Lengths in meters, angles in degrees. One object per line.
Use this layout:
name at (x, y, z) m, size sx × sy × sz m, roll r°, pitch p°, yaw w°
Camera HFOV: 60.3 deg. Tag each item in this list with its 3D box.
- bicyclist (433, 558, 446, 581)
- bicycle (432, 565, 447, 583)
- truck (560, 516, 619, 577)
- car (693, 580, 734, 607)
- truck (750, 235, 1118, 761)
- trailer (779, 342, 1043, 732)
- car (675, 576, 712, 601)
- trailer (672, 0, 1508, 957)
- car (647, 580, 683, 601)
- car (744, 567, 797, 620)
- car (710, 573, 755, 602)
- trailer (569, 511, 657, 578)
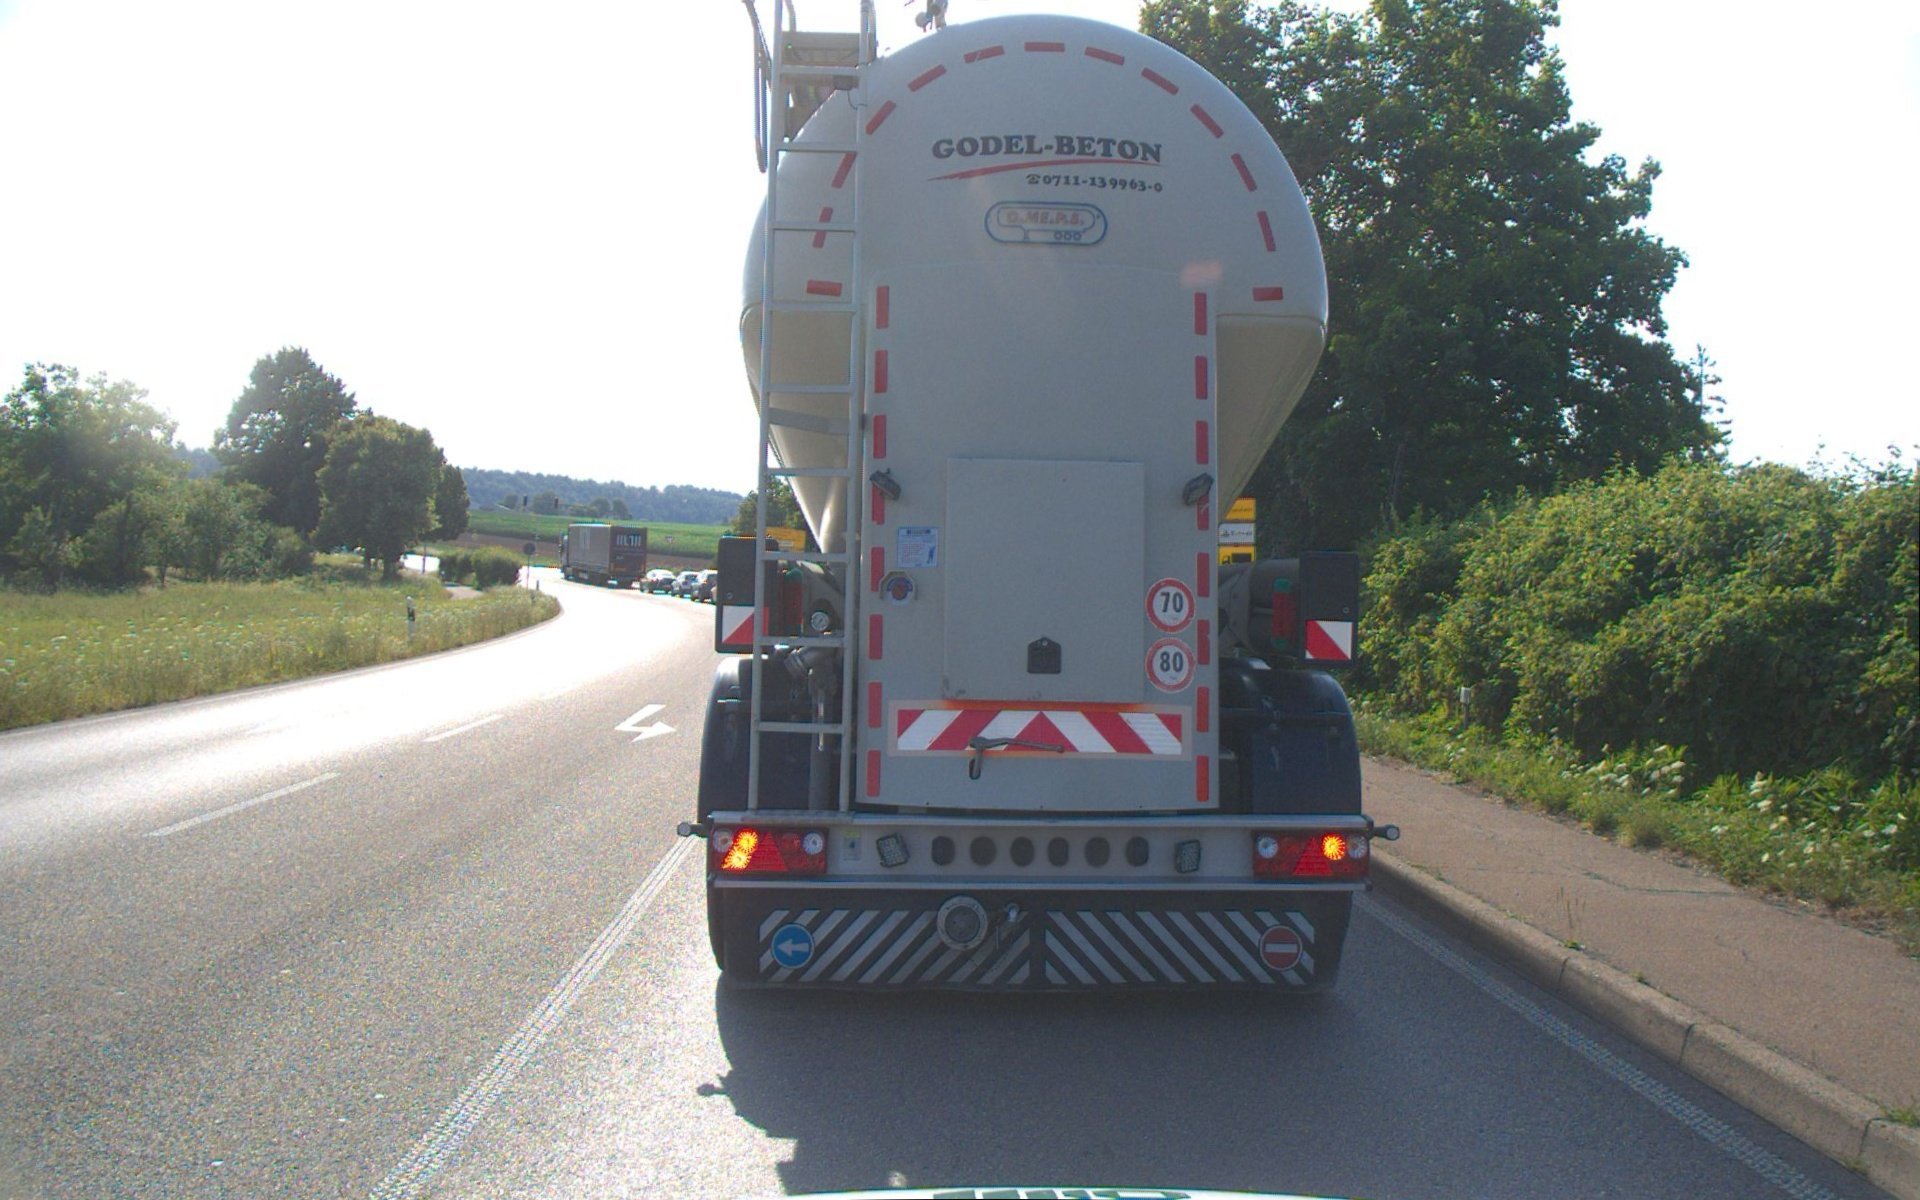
bicyclist at (-32.617, -1.913, 103.721) m, size 0.623 × 1.444 × 0.689 m, roll 3°, pitch 0°, yaw -9°
bicycle at (-32.628, -1.652, 103.713) m, size 0.623 × 1.093 × 1.667 m, roll 3°, pitch 0°, yaw -9°
truck at (-28.434, -4.088, 126.787) m, size 3.331 × 4.426 × 5.664 m, roll 2°, pitch 0°, yaw -24°
car at (-13.061, -0.356, 87.493) m, size 1.556 × 1.364 × 3.408 m, roll 2°, pitch 0°, yaw -18°
truck at (-0.378, -0.788, 15.041) m, size 2.853 × 4.076 × 4.055 m, roll 1°, pitch 0°, yaw -6°
trailer at (-0.638, -0.774, 26.210) m, size 2.895 × 4.390 × 14.173 m, roll 2°, pitch 0°, yaw -1°
car at (-15.436, -0.657, 95.614) m, size 1.556 × 1.364 × 3.408 m, roll 2°, pitch 0°, yaw -18°
trailer at (0.037, -0.852, 10.604) m, size 2.853 × 4.076 × 9.919 m, roll 1°, pitch 0°, yaw -5°
car at (-18.181, -0.588, 101.806) m, size 1.742 × 1.227 × 3.408 m, roll 1°, pitch 1°, yaw -18°
car at (-7.718, -0.275, 67.045) m, size 1.828 × 2.049 × 3.709 m, roll 1°, pitch 0°, yaw -11°
car at (-11.200, -0.629, 81.296) m, size 1.556 × 1.364 × 3.408 m, roll 2°, pitch 0°, yaw -18°
trailer at (-25.148, -3.945, 119.192) m, size 3.331 × 4.426 × 14.190 m, roll 2°, pitch 0°, yaw -23°
